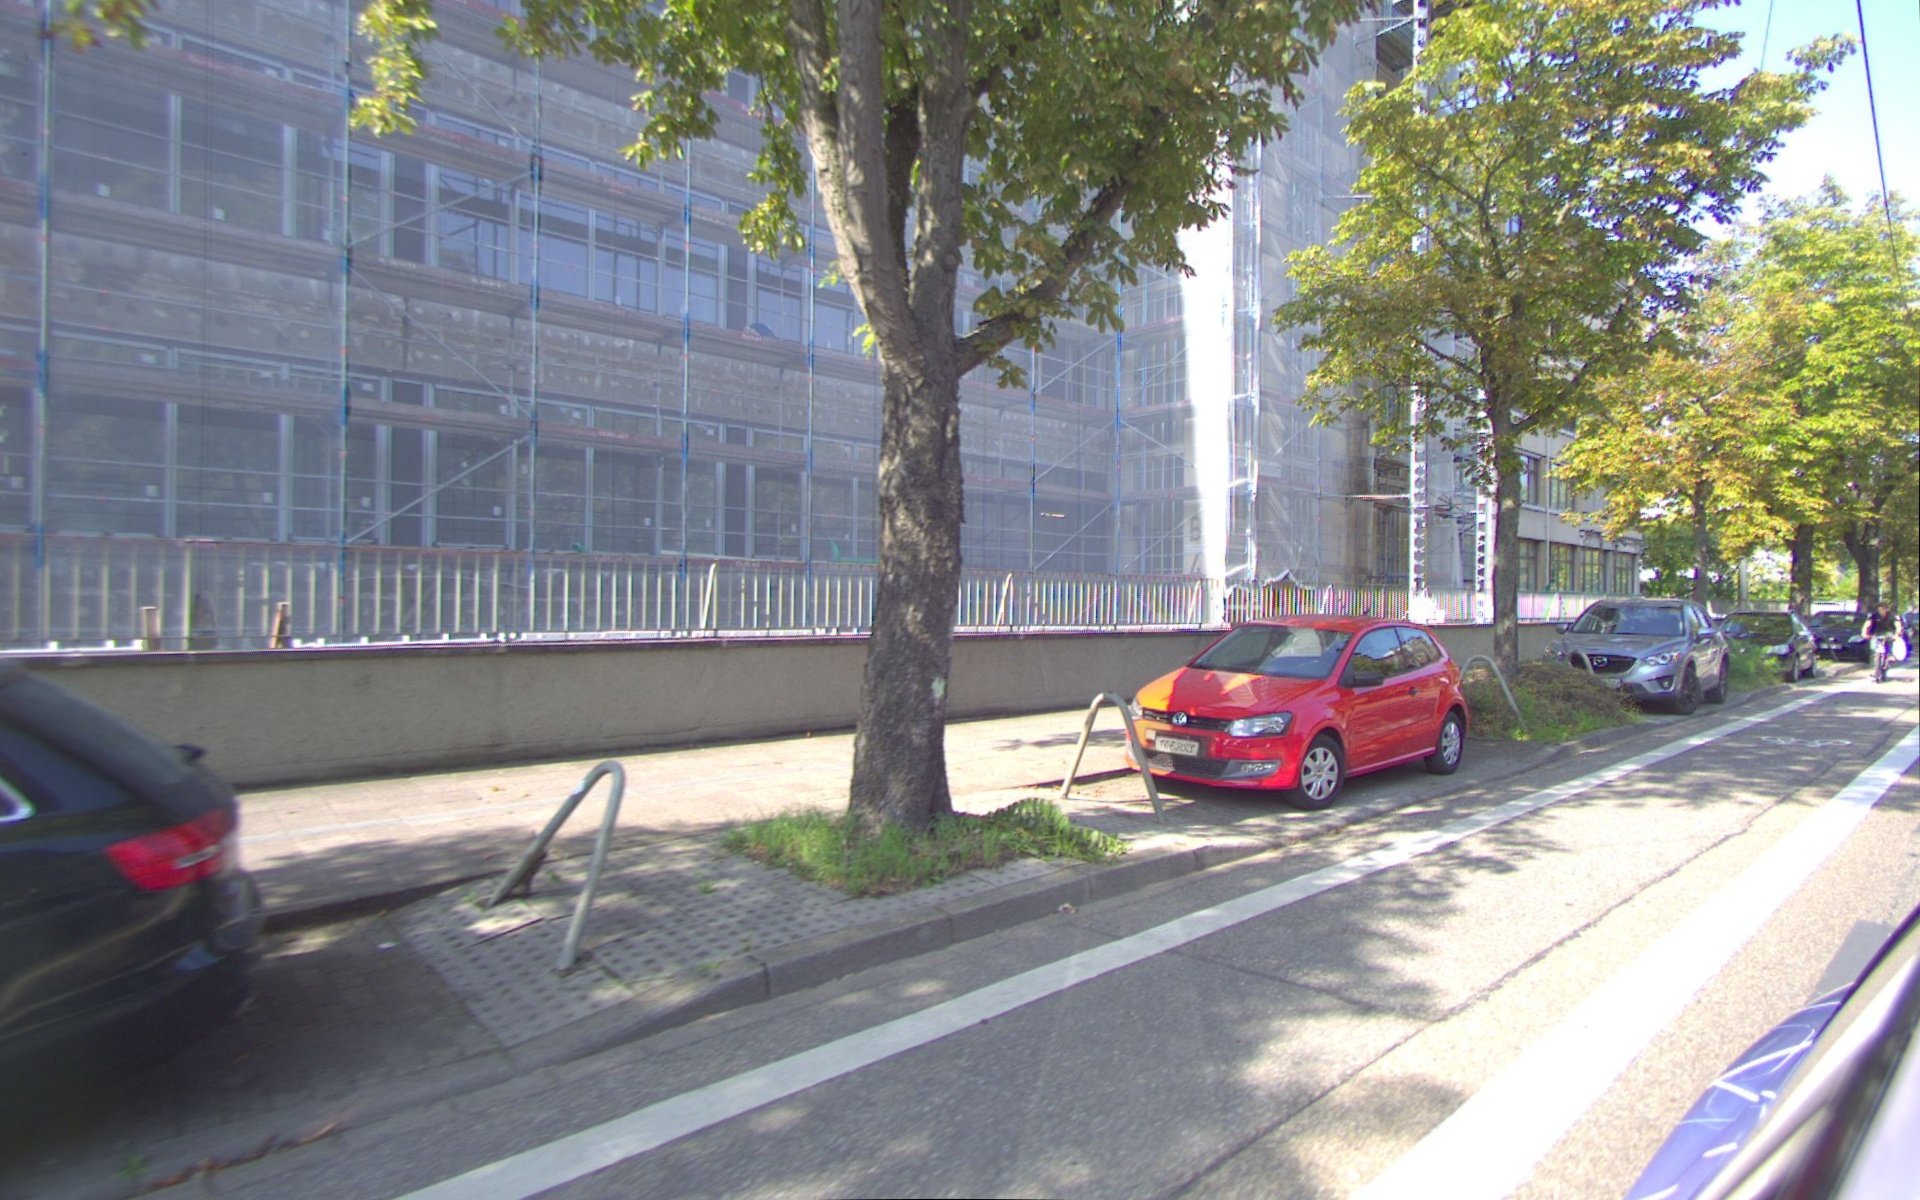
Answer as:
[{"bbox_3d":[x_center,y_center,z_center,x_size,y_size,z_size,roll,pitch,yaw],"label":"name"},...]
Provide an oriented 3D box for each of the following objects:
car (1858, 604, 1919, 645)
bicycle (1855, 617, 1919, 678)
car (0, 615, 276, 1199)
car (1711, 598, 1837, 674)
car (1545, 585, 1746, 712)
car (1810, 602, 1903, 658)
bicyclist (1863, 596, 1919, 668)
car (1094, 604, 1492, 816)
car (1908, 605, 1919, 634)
[{"bbox_3d":[36.113,0.903,39.156,4.016,1.446,1.648,0,2,-43],"label":"car"},{"bbox_3d":[19.484,0.963,21.194,2.264,1.159,0.788,0,0,-40],"label":"bicycle"},{"bbox_3d":[-4.237,0.774,1.891,4.743,1.391,1.619,0,1,-42],"label":"car"},{"bbox_3d":[18.328,0.755,22.741,3.673,1.503,1.579,0,2,-42],"label":"car"},{"bbox_3d":[10.761,0.675,15.757,4.323,1.713,1.754,1,-1,-44],"label":"car"},{"bbox_3d":[27.332,0.851,30.822,3.713,1.529,1.649,0,2,-42],"label":"car"},{"bbox_3d":[19.715,0.656,21.399,1.096,1.488,0.788,0,0,-40],"label":"bicyclist"},{"bbox_3d":[3.098,0.778,8.994,3.931,1.431,1.619,0,1,-42],"label":"car"},{"bbox_3d":[49.519,0.998,51.499,3.923,1.448,1.642,0,1,-44],"label":"car"}]
